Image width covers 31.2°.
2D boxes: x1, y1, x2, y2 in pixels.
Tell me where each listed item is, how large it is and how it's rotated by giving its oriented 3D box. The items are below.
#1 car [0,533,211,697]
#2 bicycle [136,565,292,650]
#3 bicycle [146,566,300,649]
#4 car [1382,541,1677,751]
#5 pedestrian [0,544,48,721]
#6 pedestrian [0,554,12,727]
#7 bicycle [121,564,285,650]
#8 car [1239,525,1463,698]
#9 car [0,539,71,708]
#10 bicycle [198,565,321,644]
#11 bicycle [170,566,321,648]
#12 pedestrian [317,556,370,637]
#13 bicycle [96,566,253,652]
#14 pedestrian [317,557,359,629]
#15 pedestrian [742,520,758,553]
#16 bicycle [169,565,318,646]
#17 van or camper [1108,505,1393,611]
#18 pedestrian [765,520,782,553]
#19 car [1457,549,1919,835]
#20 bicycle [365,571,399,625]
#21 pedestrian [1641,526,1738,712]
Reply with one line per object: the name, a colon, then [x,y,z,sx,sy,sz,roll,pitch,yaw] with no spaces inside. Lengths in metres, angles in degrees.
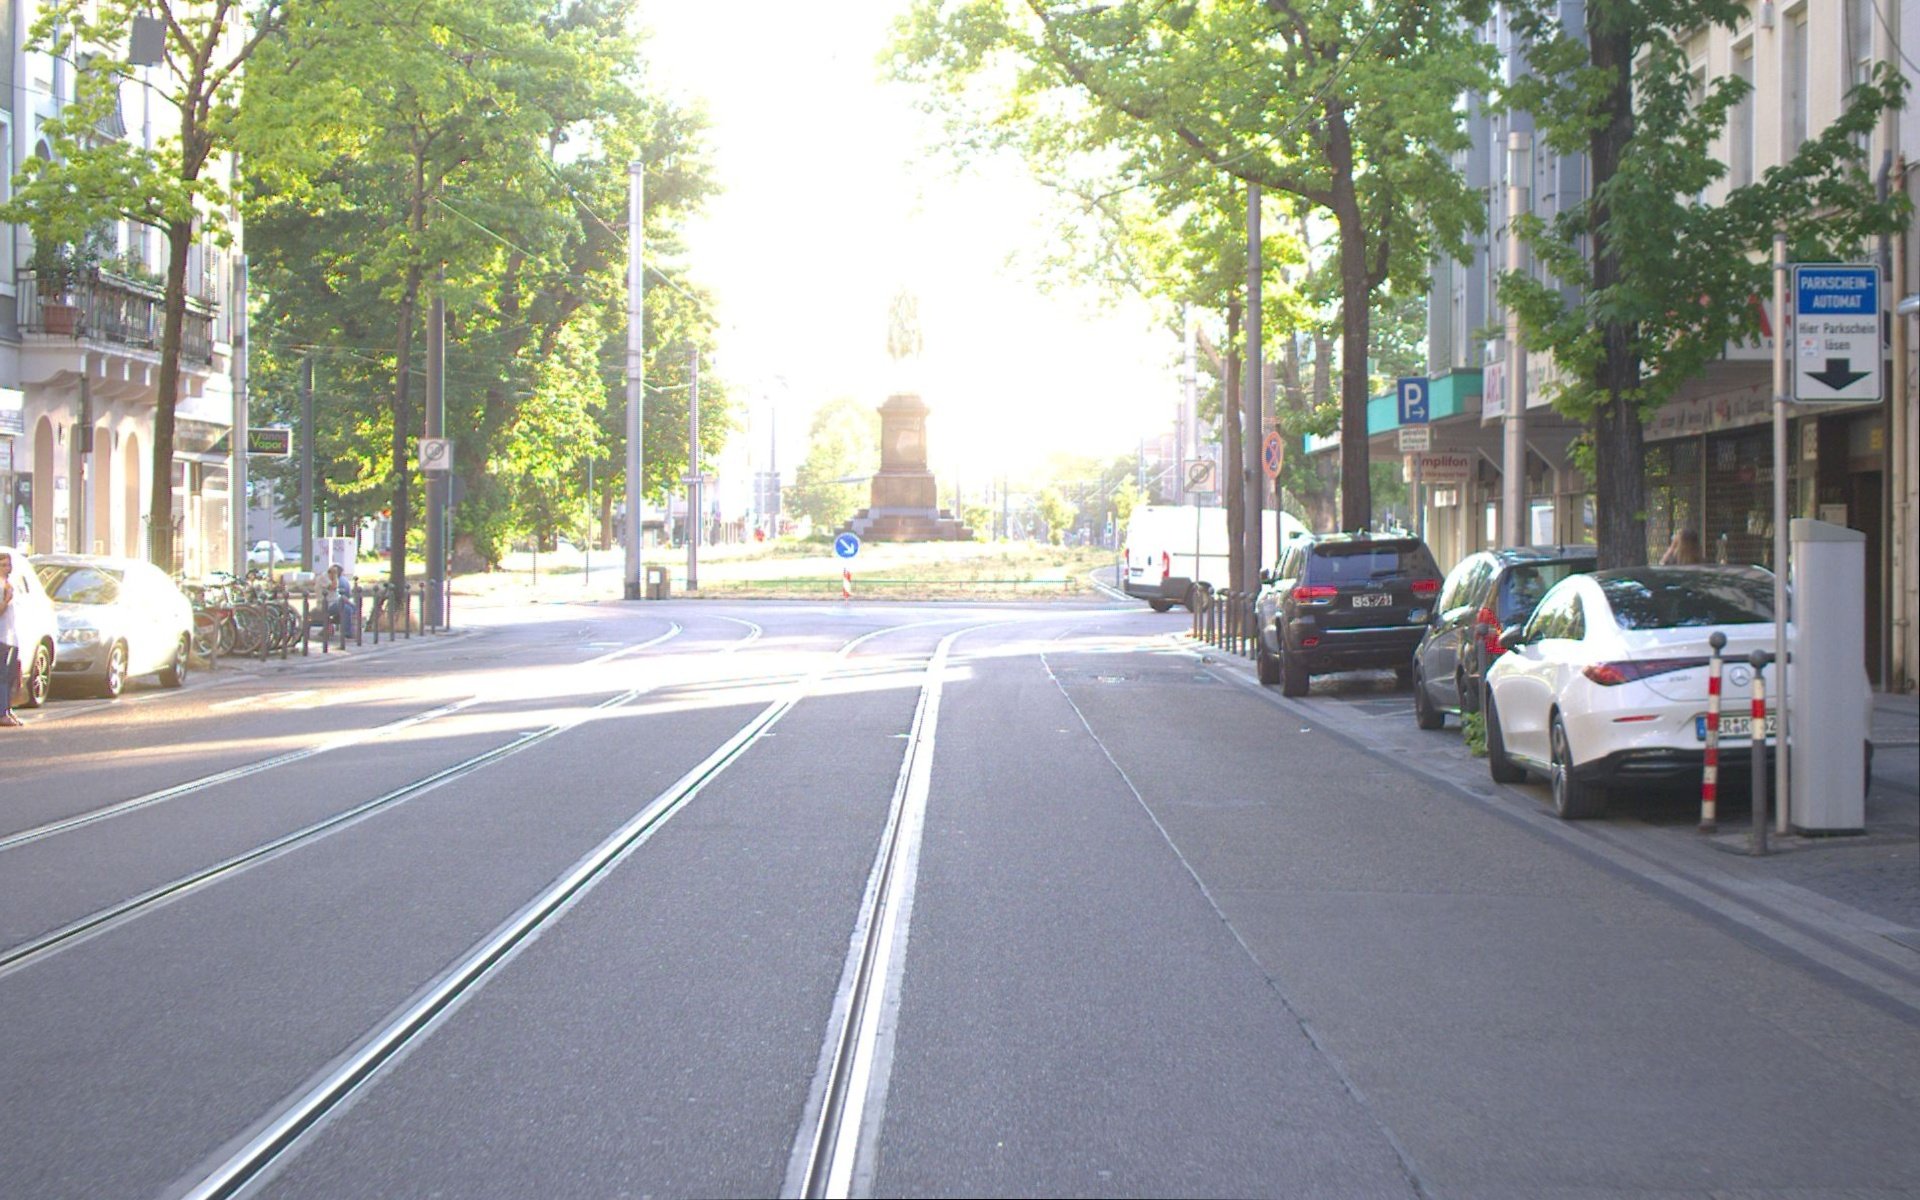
car: [-9.754,0.112,37.865,1.836,1.574,4.702,4,1,0]
bicycle: [-10.377,0.108,47.827,2.023,1.101,0.501,2,0,-25]
bicycle: [-10.375,0.113,48.414,2.023,1.101,0.501,2,0,-25]
car: [4.806,0.337,29.526,1.776,1.585,3.892,-3,1,0]
pedestrian: [-8.489,0.289,30.703,0.521,1.564,0.634,0,0,1]
pedestrian: [-8.662,0.356,29.895,0.620,1.504,0.729,0,0,1]
bicycle: [-10.385,0.099,47.188,2.108,1.101,0.501,2,0,-25]
car: [4.389,0.080,39.274,1.938,1.753,4.680,-3,1,0]
car: [-10.071,0.189,33.090,1.836,1.574,4.116,4,1,1]
bicycle: [-10.346,0.060,50.750,2.028,1.101,0.500,2,0,35]
bicycle: [-10.235,0.097,49.292,2.024,1.101,0.501,2,0,3]
pedestrian: [-10.070,-0.066,56.171,0.728,1.286,0.857,1,1,-2]
bicycle: [-10.570,0.123,46.270,1.945,1.101,0.567,2,0,-25]
pedestrian: [-10.453,-0.127,57.815,0.591,1.189,0.642,1,1,-2]
pedestrian: [-10.242,-3.087,167.832,0.769,1.600,0.638,0,1,-6]
bicycle: [-10.395,0.082,49.879,2.024,1.101,0.501,2,0,3]
van or camper: [6.955,-1.038,82.298,6.297,2.464,2.616,0,1,-22]
pedestrian: [-9.079,-3.071,167.270,0.769,1.600,0.638,0,1,-6]
car: [4.494,0.490,21.825,1.993,1.493,4.680,-3,1,1]
bicycle: [-10.339,-0.038,61.481,0.336,0.942,1.510,0,1,1]
pedestrian: [6.701,0.164,31.601,0.643,1.664,0.786,-3,1,0]
